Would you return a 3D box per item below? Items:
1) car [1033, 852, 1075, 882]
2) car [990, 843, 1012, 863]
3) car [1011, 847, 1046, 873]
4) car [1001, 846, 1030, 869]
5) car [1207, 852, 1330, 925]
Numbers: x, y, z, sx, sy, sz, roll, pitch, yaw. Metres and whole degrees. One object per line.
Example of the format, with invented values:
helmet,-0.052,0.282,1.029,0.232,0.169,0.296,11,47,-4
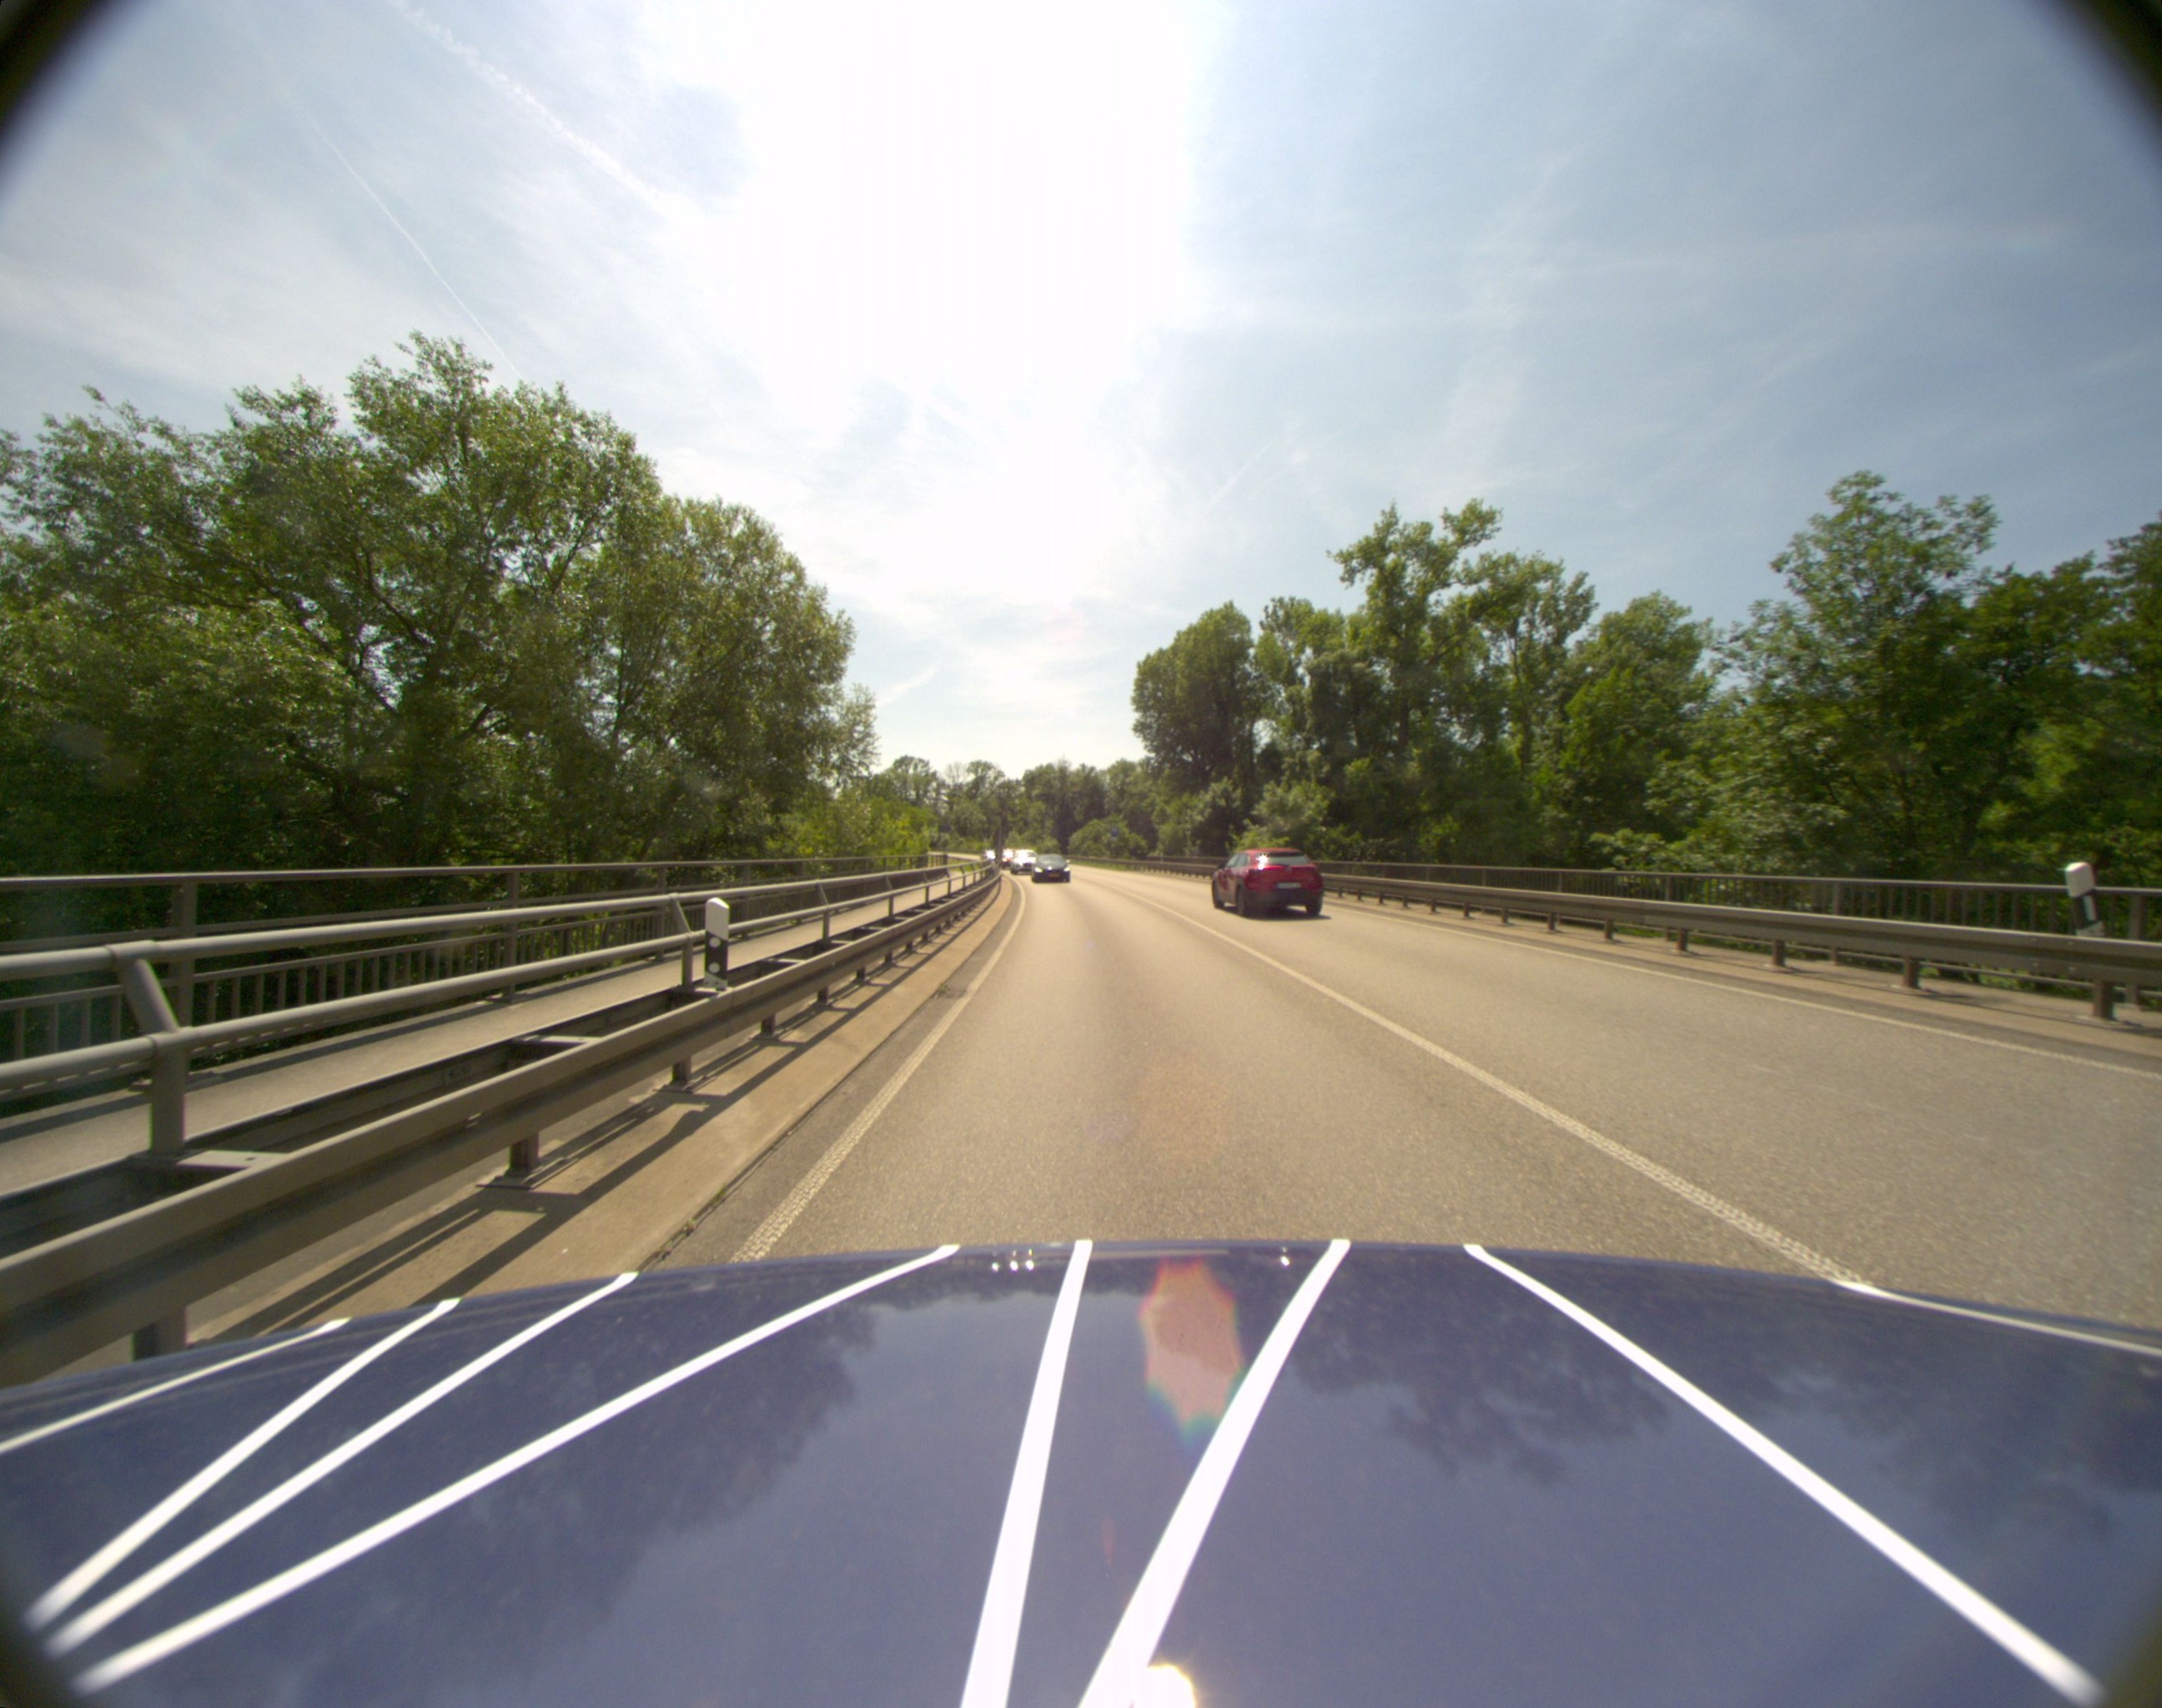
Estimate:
car,-1.433,0.634,39.180,1.910,1.413,3.948,-2,1,-5
car,-8.482,-0.078,80.223,2.000,2.002,3.996,-1,0,-11
car,-3.684,0.399,52.544,1.911,1.638,3.946,-2,1,-10
car,-5.539,0.275,63.914,2.000,1.765,3.996,-2,1,-11
car,4.315,0.729,18.143,1.823,1.514,3.949,-1,0,-2
